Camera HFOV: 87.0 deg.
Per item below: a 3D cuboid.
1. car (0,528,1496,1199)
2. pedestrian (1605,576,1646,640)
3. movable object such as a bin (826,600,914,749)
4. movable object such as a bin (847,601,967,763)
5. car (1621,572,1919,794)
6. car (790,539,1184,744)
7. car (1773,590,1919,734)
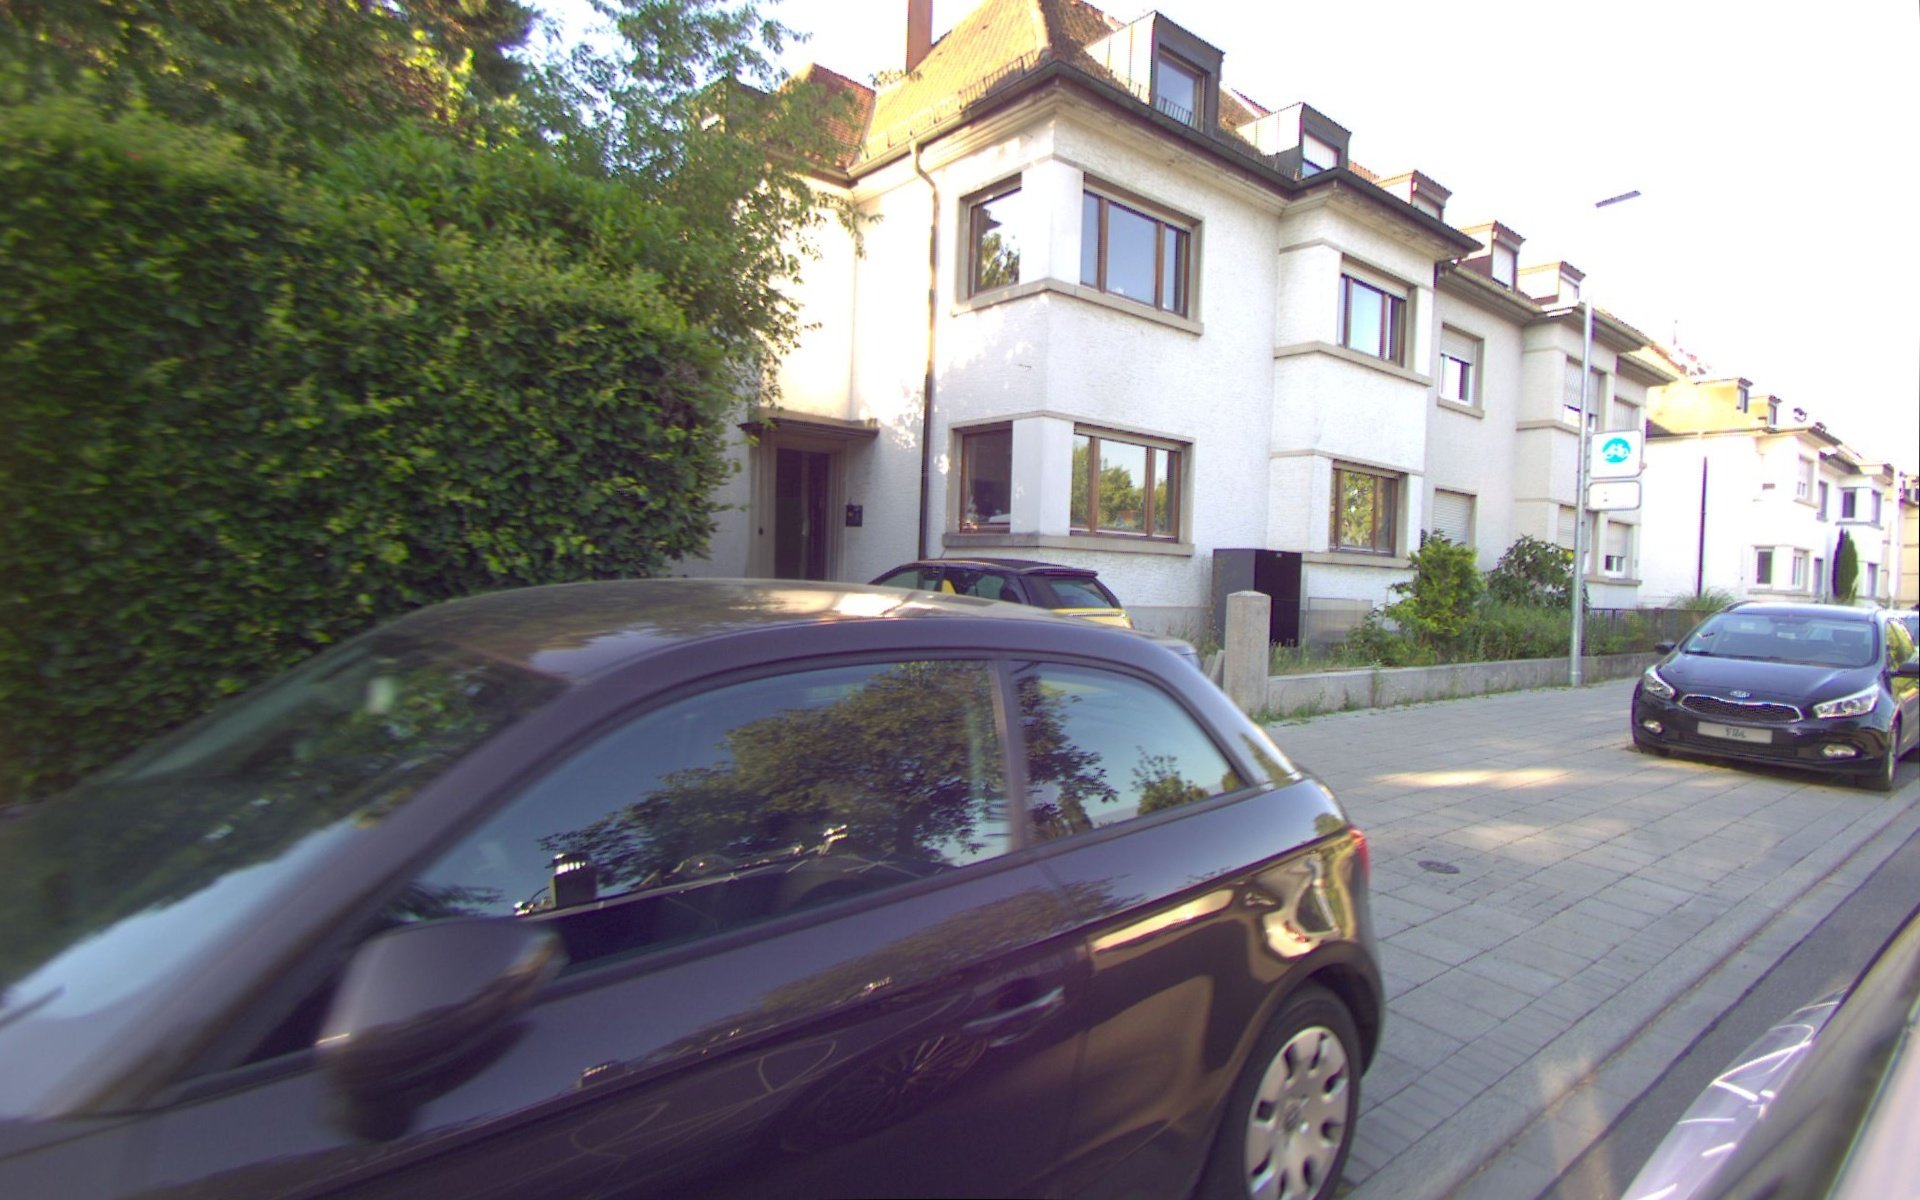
[{"bbox_3d":[-0.618,0.640,2.061,3.866,1.445,1.645,0,4,-40],"label":"car"},{"bbox_3d":[21.887,0.243,33.284,1.081,2.039,0.855,2,1,36],"label":"pedestrian"},{"bbox_3d":[-0.681,0.539,7.614,0.508,1.056,0.410,2,1,45],"label":"movable object such as a bin"},{"bbox_3d":[-0.368,0.543,7.097,0.508,1.056,0.648,2,1,45],"label":"movable object such as a bin"},{"bbox_3d":[7.902,0.600,9.414,4.180,1.492,1.751,0,5,-41],"label":"car"},{"bbox_3d":[0.118,0.248,9.849,1.751,1.514,3.640,0,4,-43],"label":"car"},{"bbox_3d":[11.823,0.700,12.736,3.913,1.489,1.723,0,4,-41],"label":"car"}]
